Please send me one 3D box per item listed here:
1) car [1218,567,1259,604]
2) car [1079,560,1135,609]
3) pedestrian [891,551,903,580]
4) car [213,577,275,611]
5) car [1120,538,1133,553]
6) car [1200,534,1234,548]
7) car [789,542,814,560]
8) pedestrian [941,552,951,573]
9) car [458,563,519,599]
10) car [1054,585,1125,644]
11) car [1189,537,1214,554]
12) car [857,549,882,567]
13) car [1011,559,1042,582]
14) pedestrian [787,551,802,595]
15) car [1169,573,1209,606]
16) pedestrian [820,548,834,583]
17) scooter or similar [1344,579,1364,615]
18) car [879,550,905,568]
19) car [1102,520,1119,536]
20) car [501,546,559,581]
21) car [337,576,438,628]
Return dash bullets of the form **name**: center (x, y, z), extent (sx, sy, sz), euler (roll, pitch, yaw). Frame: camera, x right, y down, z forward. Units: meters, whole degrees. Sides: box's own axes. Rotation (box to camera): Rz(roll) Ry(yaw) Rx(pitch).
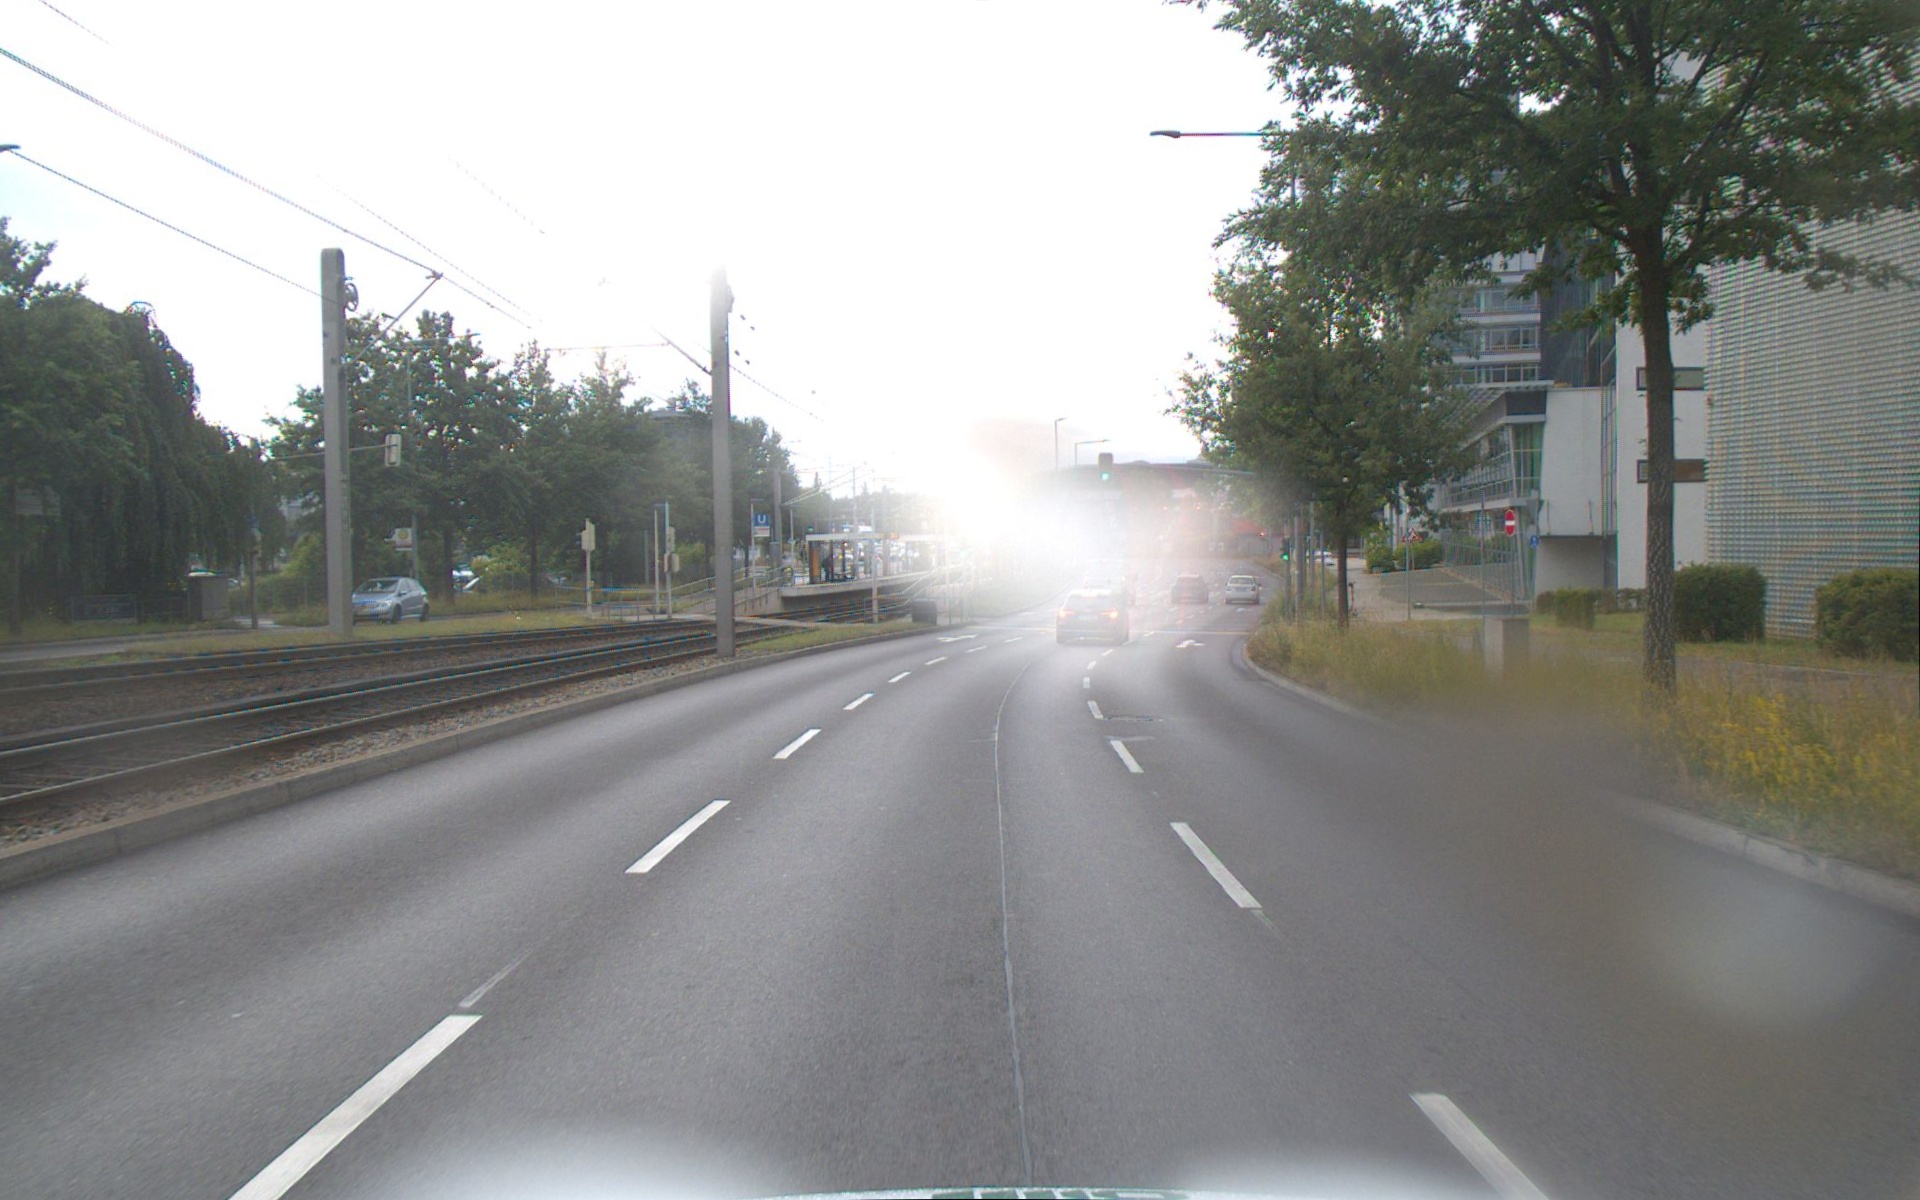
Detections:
- **car**: center (14.564, -0.802, 86.612), extent (1.978, 1.800, 4.004), euler (0, 2, 7)
- **car**: center (7.276, -0.725, 81.411), extent (2.457, 2.215, 5.153), euler (0, -1, 8)
- **pedestrian**: center (-4.600, -2.500, 120.064), extent (0.838, 2.049, 1.040), euler (1, -1, -2)
- **car**: center (-32.753, -0.253, 75.602), extent (1.975, 1.439, 3.953), euler (1, -1, -33)
- **car**: center (25.610, -8.418, 254.973), extent (1.780, 2.049, 3.471), euler (0, -1, 2)
- **car**: center (31.229, -7.163, 200.764), extent (2.002, 1.651, 3.955), euler (0, 2, -33)
- **car**: center (-19.617, -6.025, 204.876), extent (1.967, 2.049, 3.970), euler (1, -1, -24)
- **pedestrian**: center (-1.168, -3.195, 140.004), extent (0.736, 1.781, 0.764), euler (0, -1, 8)
- **car**: center (-27.878, -1.090, 97.913), extent (1.951, 2.049, 4.003), euler (0, -1, 10)
- **car**: center (3.576, 0.351, 45.173), extent (1.727, 1.489, 4.630), euler (1, 1, 7)
- **car**: center (33.875, -7.637, 232.458), extent (1.962, 2.049, 3.981), euler (1, -1, -17)
- **car**: center (-11.508, -5.284, 209.716), extent (1.967, 2.049, 3.970), euler (1, -1, -24)
- **car**: center (4.974, -2.199, 122.963), extent (1.951, 1.477, 3.853), euler (1, 5, 7)
- **pedestrian**: center (-7.541, -1.221, 75.461), extent (0.537, 1.987, 0.664), euler (1, -1, 4)
- **car**: center (11.979, -0.533, 86.863), extent (1.978, 1.651, 4.002), euler (0, -1, 7)
- **pedestrian**: center (-7.305, -1.902, 90.733), extent (0.623, 1.887, 0.751), euler (0, -1, 7)
- **scooter or similar**: center (14.370, -0.117, 60.276), extent (0.448, 1.285, 1.338), euler (-3, 0, 4)
- **car**: center (-8.733, -5.229, 211.461), extent (1.967, 2.049, 3.970), euler (1, -1, -24)
- **car**: center (21.821, -10.471, 239.588), extent (1.954, 2.049, 3.997), euler (0, -1, -3)
- **car**: center (-26.779, -2.280, 103.147), extent (1.951, 2.049, 4.003), euler (0, -1, 10)
- **car**: center (-19.782, 0.040, 57.289), extent (1.952, 1.709, 4.002), euler (1, 1, 2)
